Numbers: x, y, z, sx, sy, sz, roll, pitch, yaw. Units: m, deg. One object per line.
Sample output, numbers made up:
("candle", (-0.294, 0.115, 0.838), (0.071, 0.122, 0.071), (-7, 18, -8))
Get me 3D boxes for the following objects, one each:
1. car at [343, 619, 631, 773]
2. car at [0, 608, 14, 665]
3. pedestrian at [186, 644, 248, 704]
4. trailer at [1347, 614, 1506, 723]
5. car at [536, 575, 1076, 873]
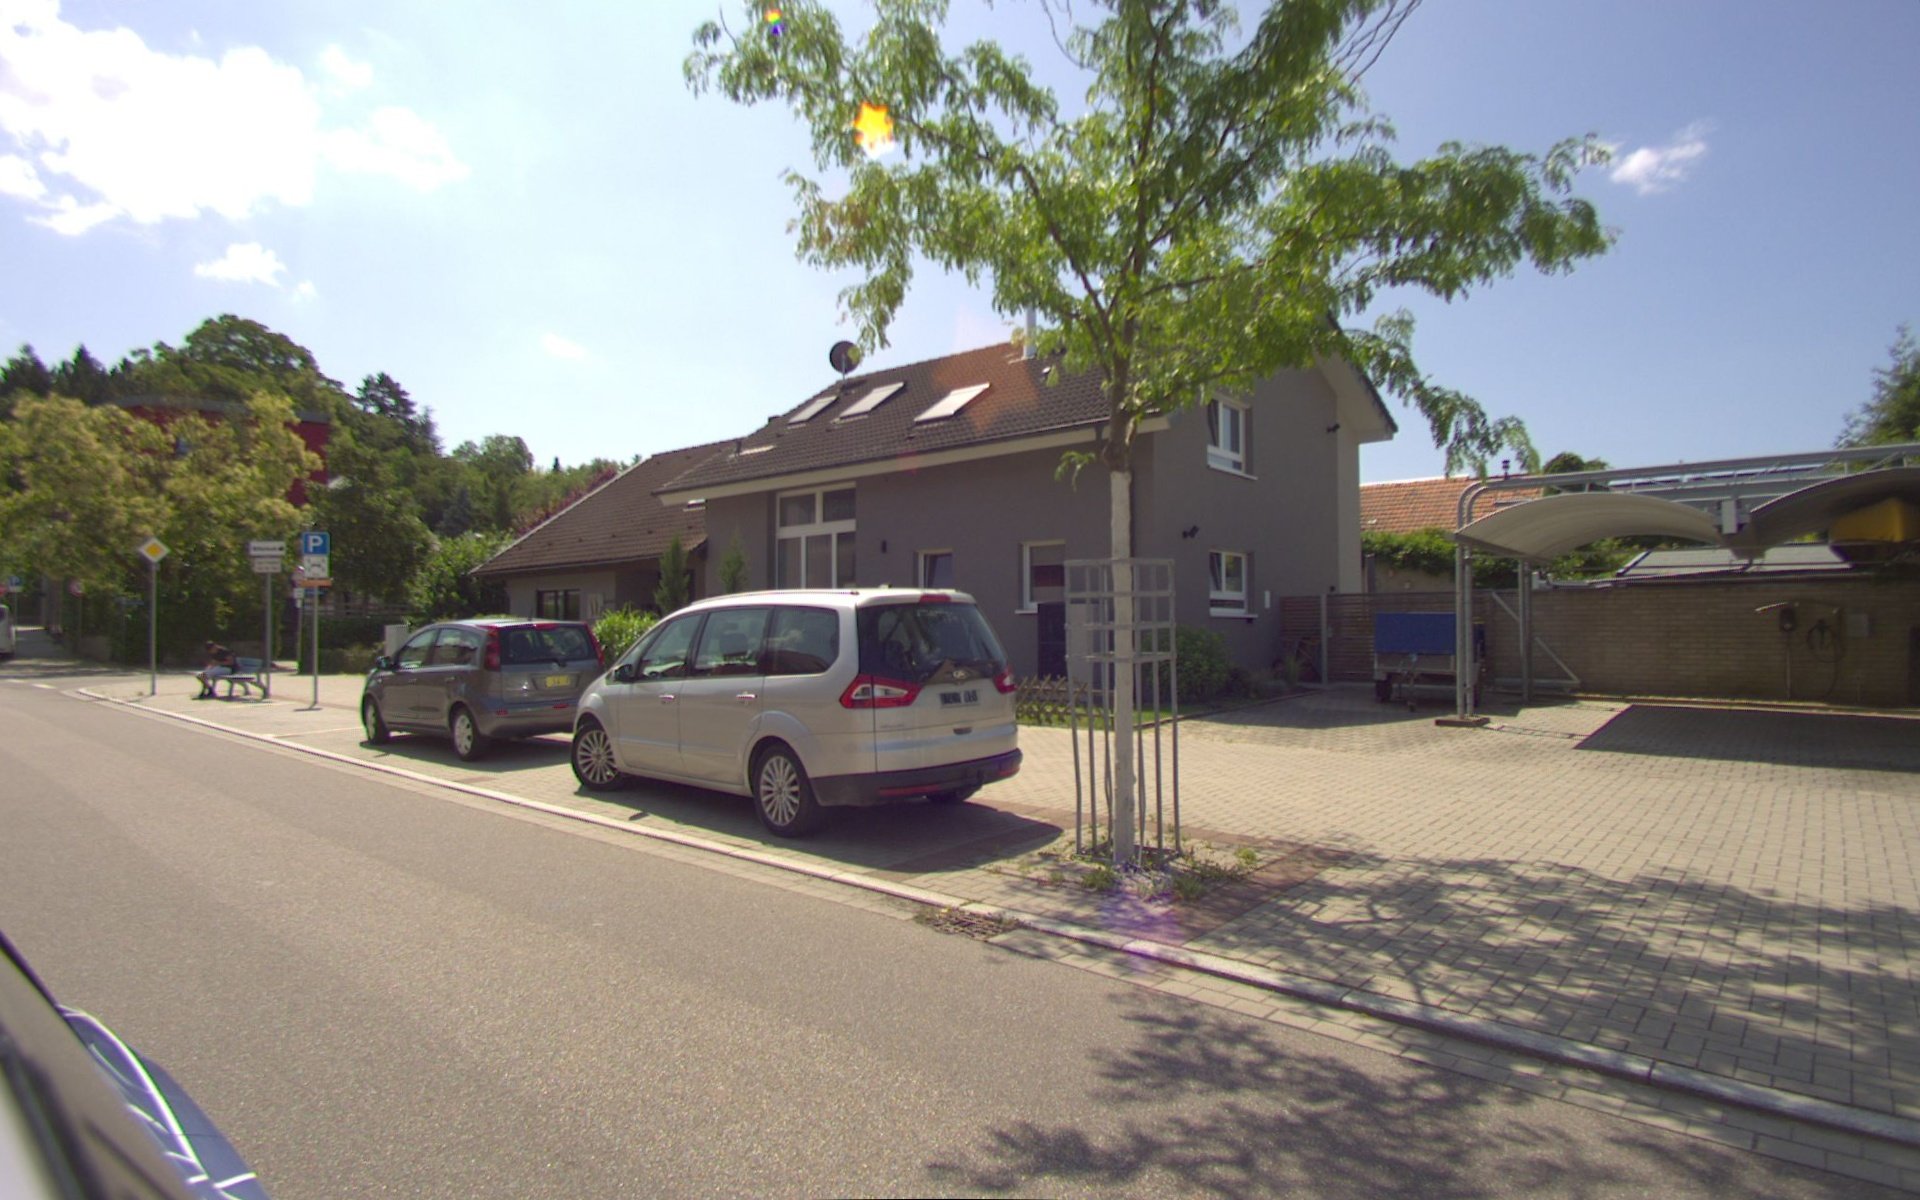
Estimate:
("car", (-5.846, 1.071, 12.317), (3.906, 1.536, 1.705), (-3, -2, 40))
("car", (-35.647, 1.293, 36.376), (3.998, 1.995, 1.973), (-1, -2, 41))
("pedestrian", (-15.233, 1.504, 20.756), (0.884, 1.150, 0.806), (-1, 0, 38))
("trailer", (7.242, 0.948, 15.537), (1.582, 1.399, 3.600), (-1, 0, 35))
("car", (-1.509, 0.810, 8.259), (4.686, 1.761, 1.819), (-3, -2, 43))
